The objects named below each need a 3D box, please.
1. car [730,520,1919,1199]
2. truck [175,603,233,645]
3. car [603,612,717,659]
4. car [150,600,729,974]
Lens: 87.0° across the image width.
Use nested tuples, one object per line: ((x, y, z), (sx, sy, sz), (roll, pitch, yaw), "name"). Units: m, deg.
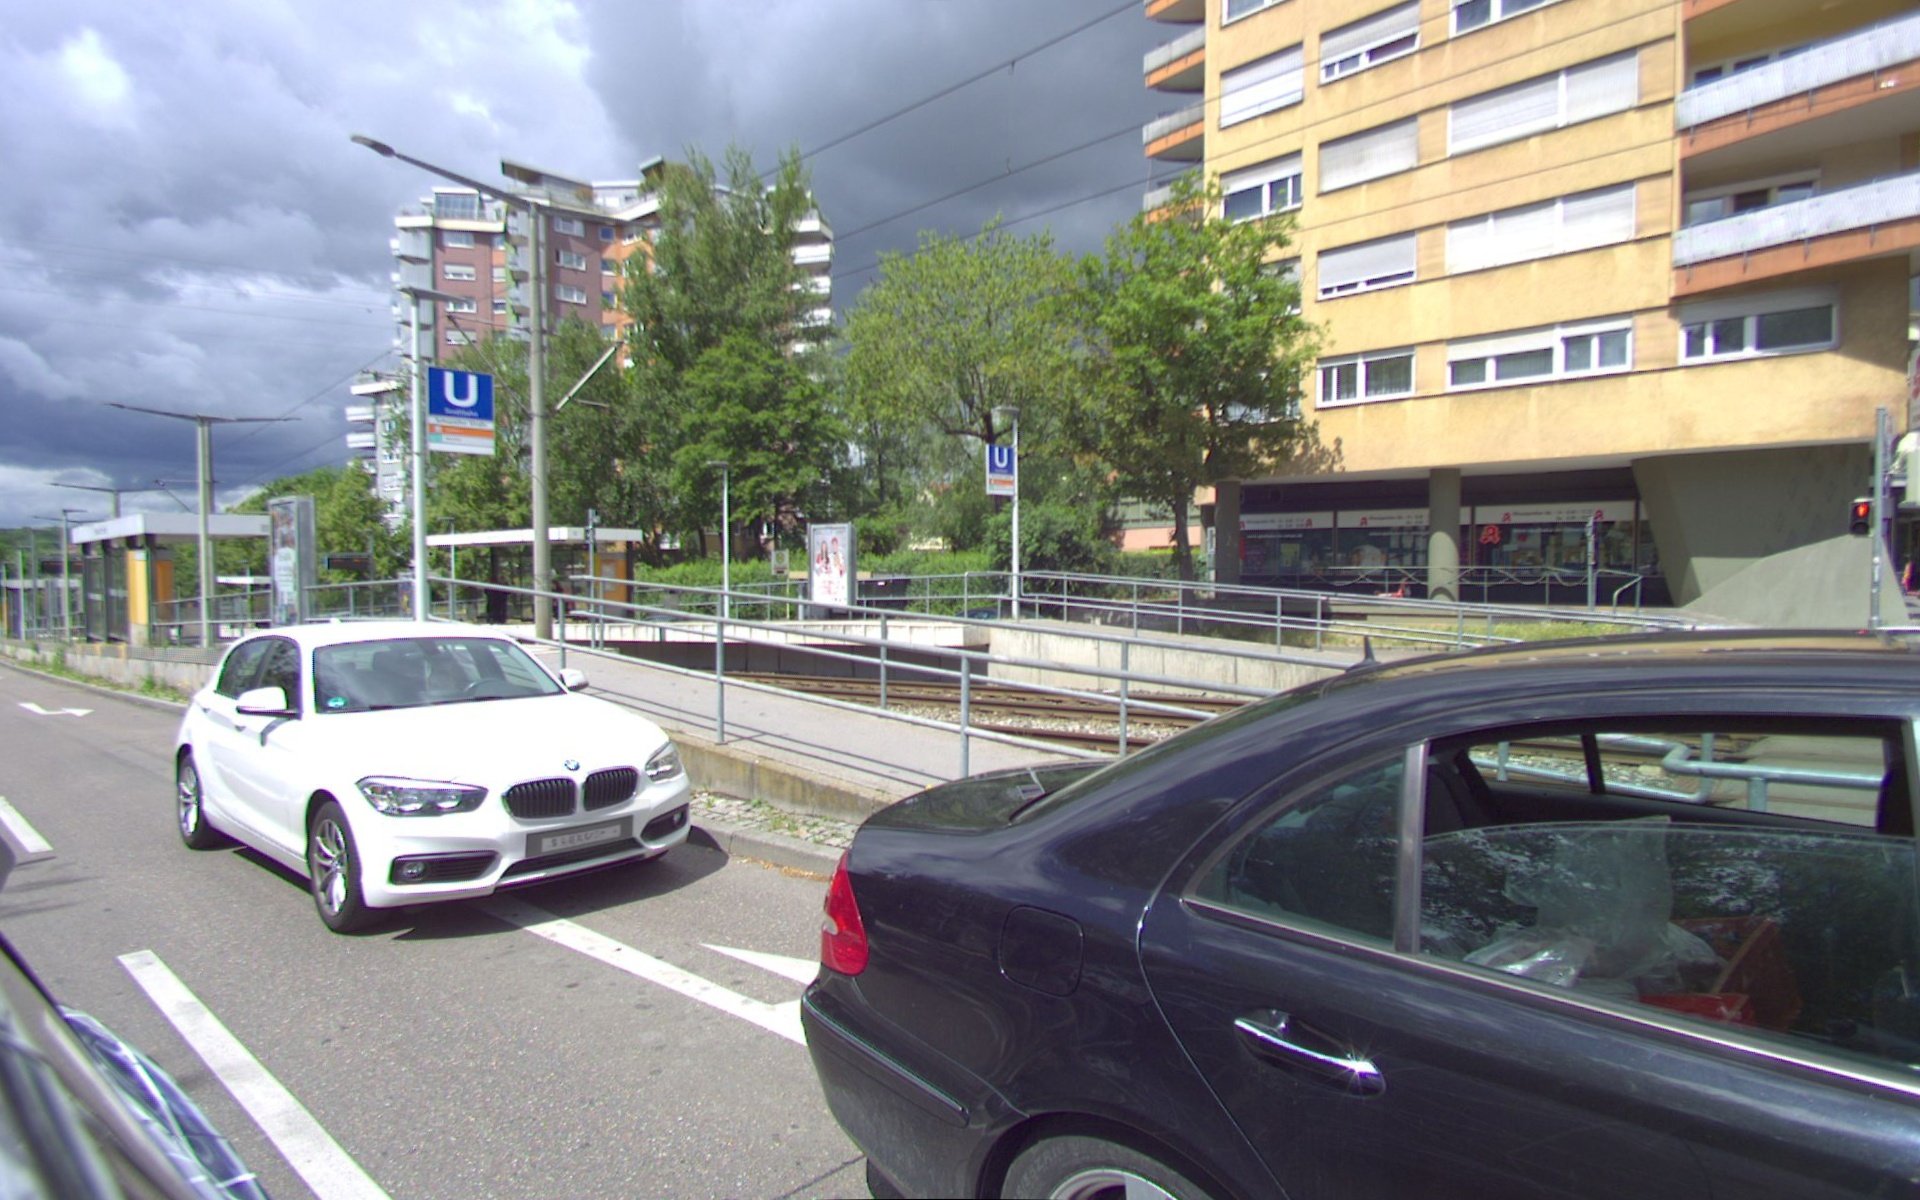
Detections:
((1.768, 0.646, 1.349), (4.542, 1.472, 1.710), (-1, 0, 41), "car")
((-62.238, 2.017, 83.291), (7.260, 3.247, 2.389), (-2, -1, 42), "truck")
((-9.947, 1.164, 33.424), (4.252, 1.424, 1.612), (-2, -1, 42), "car")
((-3.282, 0.767, 6.005), (3.998, 1.472, 1.710), (-1, 0, 41), "car")
